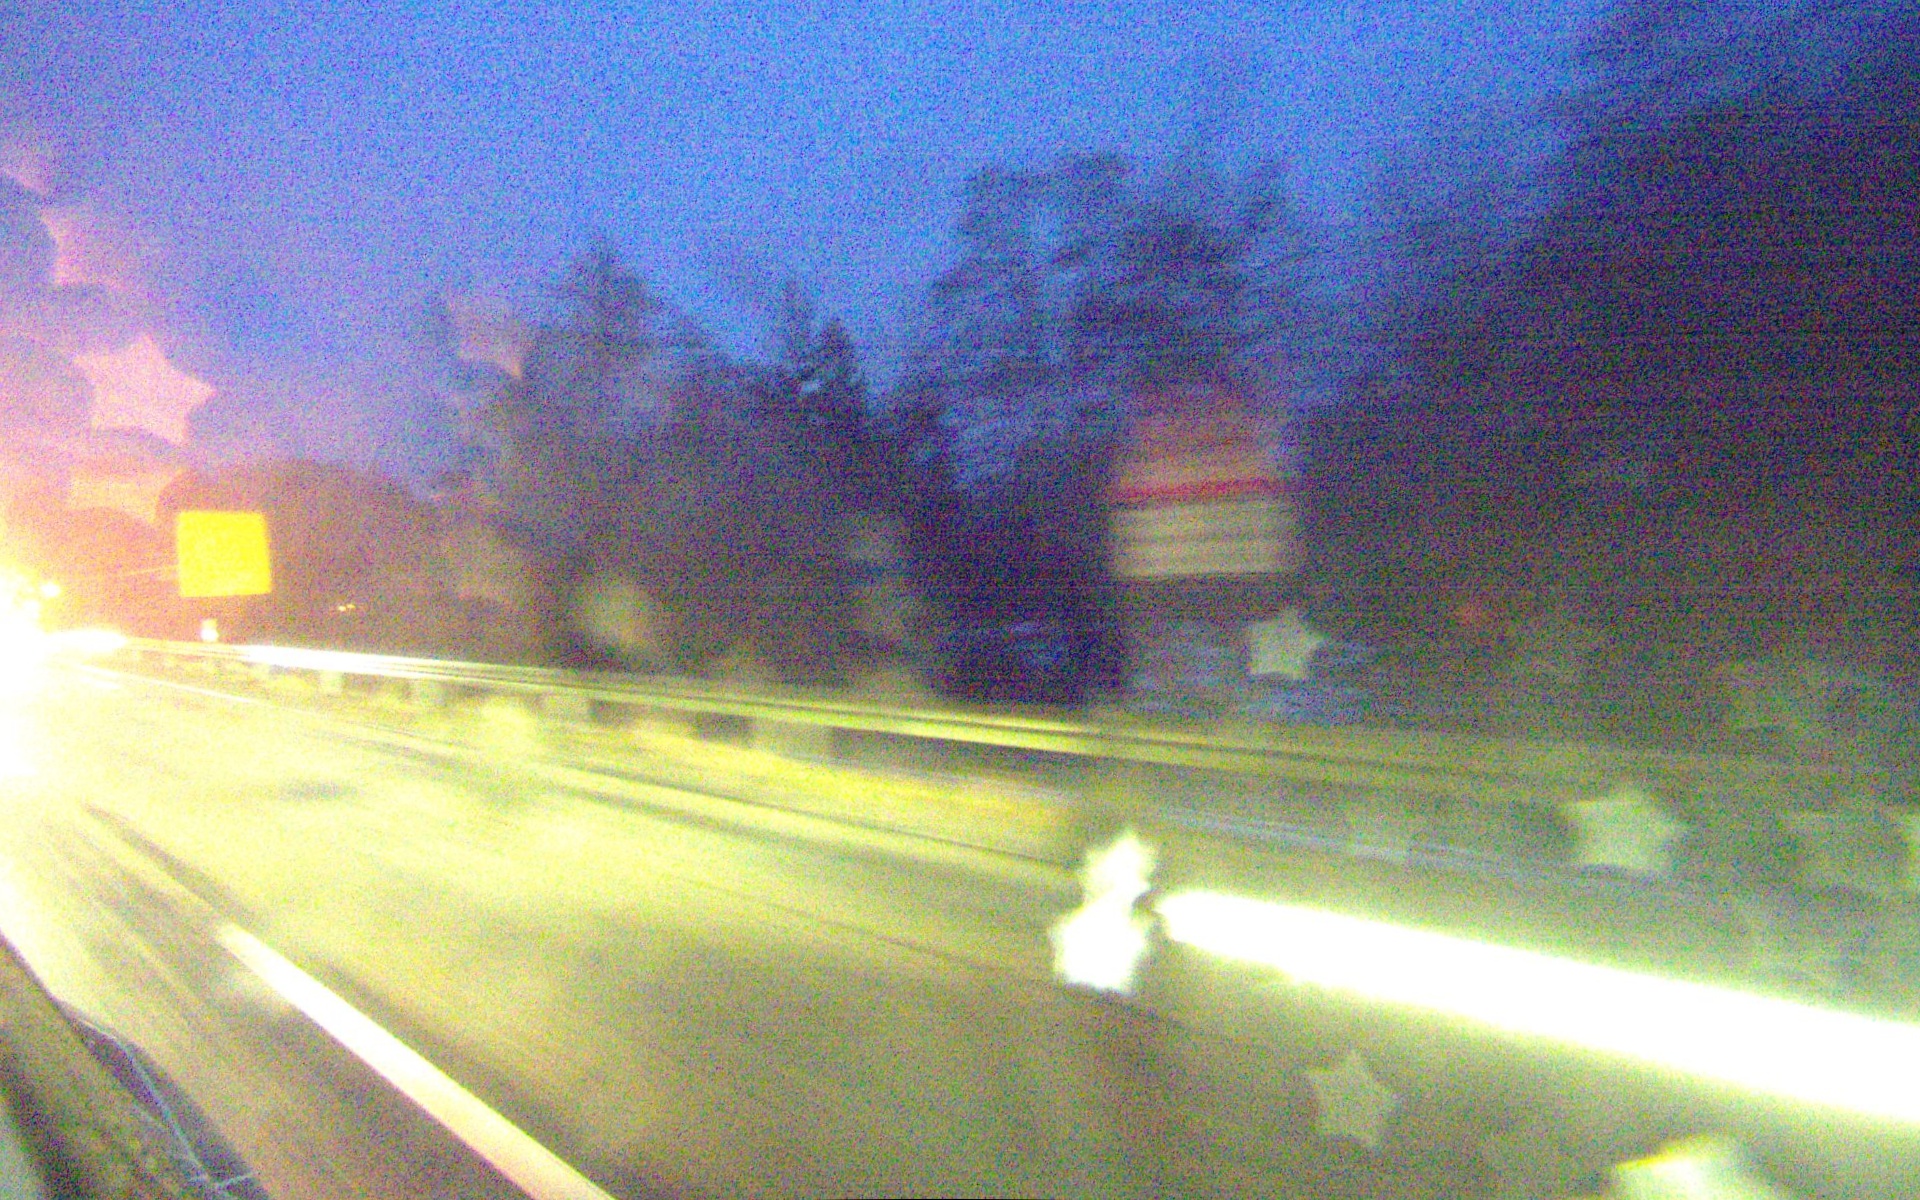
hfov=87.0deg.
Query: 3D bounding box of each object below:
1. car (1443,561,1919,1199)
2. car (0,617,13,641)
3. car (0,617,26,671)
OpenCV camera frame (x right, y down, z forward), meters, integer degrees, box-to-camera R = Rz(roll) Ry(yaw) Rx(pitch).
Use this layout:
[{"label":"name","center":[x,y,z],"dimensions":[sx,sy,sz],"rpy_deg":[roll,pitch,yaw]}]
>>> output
[{"label":"car","center":[3.124,0.630,1.122],"dimensions":[4.281,1.473,1.955],"rpy_deg":[-1,1,42]},{"label":"car","center":[-65.851,1.979,68.714],"dimensions":[4.440,1.566,1.811],"rpy_deg":[-2,1,42]},{"label":"car","center":[-28.988,1.320,29.681],"dimensions":[4.356,1.508,1.972],"rpy_deg":[-2,1,43]}]
